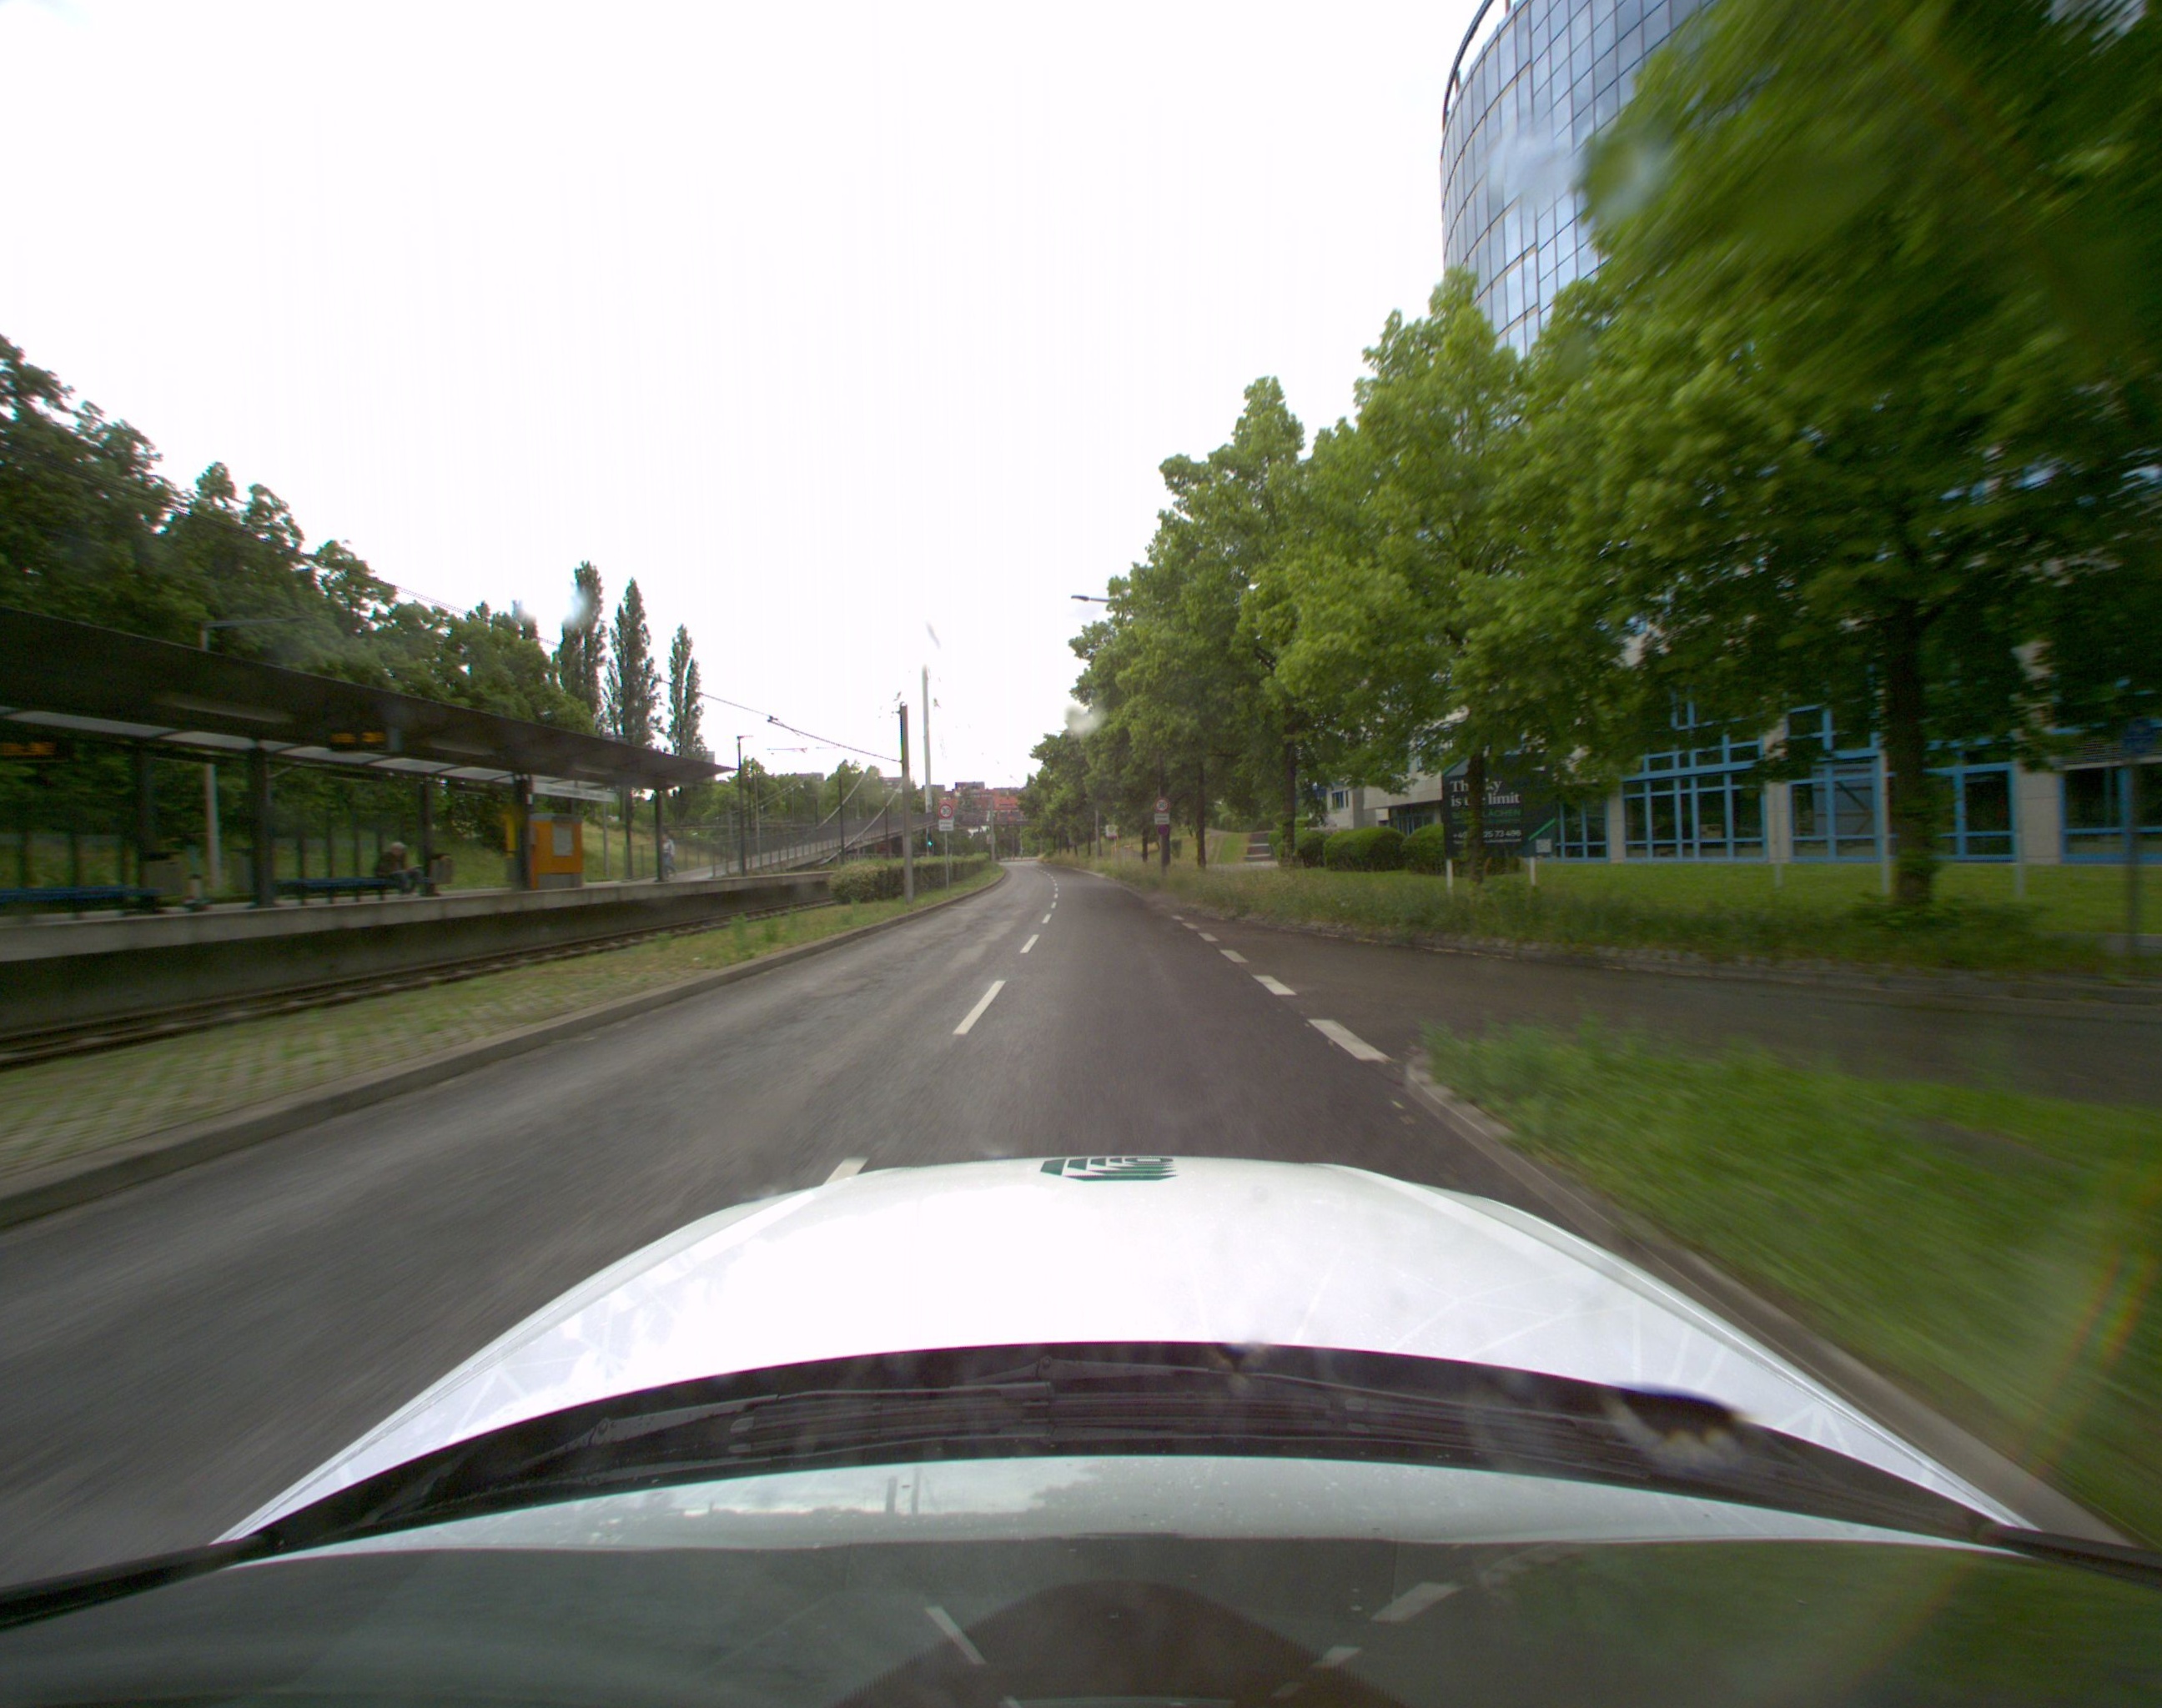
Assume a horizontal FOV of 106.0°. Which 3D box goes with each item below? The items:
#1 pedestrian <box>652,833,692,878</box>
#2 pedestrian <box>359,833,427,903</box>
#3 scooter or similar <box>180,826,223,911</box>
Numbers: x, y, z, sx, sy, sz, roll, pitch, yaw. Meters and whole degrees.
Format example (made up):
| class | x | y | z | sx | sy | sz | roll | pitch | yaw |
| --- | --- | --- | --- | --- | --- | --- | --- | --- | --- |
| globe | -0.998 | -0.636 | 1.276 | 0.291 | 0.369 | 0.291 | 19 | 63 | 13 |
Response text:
| class | x | y | z | sx | sy | sz | roll | pitch | yaw |
| --- | --- | --- | --- | --- | --- | --- | --- | --- | --- |
| pedestrian | -14.883 | 0.053 | 29.689 | 0.933 | 1.611 | 1.026 | -1 | -1 | -3 |
| pedestrian | -13.636 | 0.275 | 16.154 | 0.751 | 1.356 | 0.691 | -1 | -1 | -3 |
| scooter or similar | -13.272 | 0.214 | 12.303 | 1.284 | 1.218 | 0.382 | -1 | -2 | 45 |
